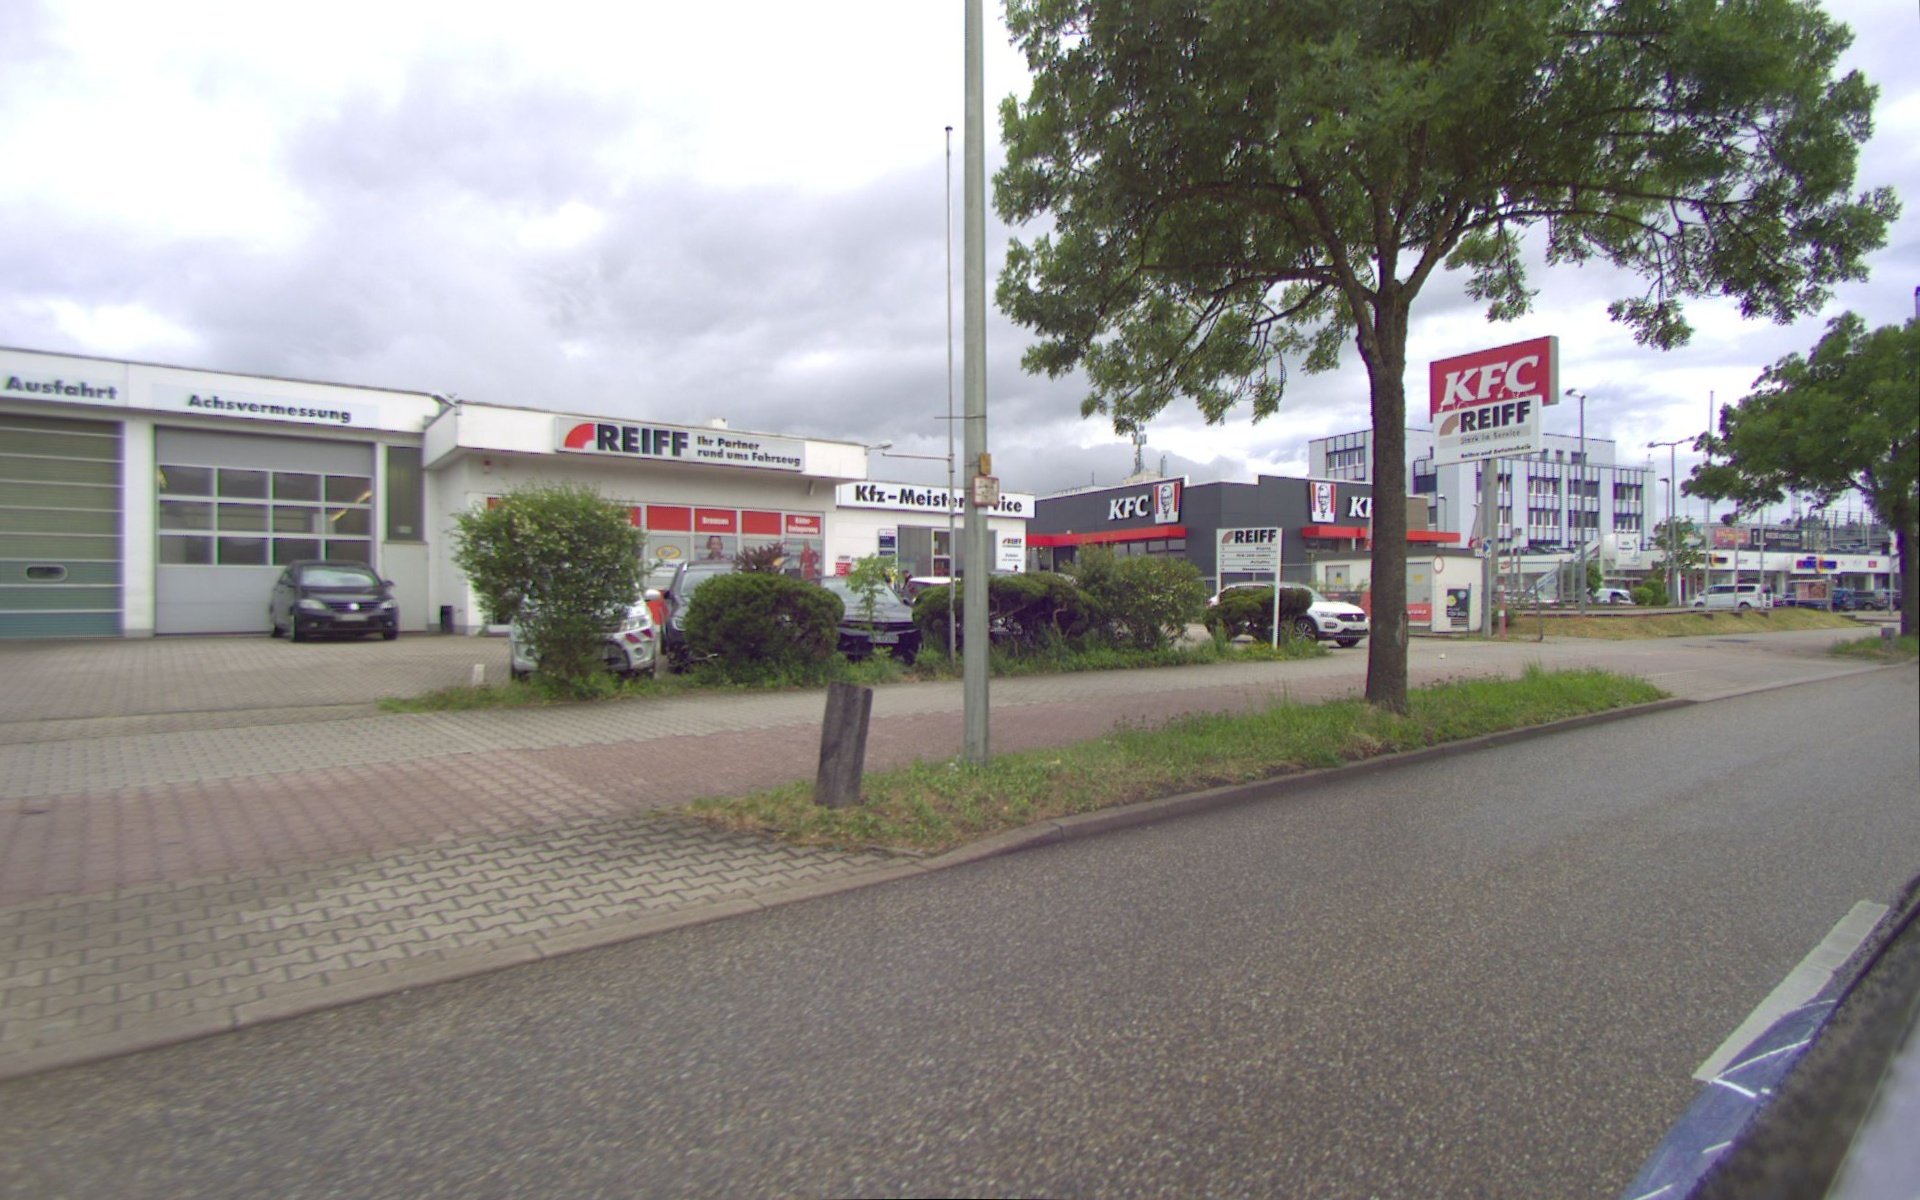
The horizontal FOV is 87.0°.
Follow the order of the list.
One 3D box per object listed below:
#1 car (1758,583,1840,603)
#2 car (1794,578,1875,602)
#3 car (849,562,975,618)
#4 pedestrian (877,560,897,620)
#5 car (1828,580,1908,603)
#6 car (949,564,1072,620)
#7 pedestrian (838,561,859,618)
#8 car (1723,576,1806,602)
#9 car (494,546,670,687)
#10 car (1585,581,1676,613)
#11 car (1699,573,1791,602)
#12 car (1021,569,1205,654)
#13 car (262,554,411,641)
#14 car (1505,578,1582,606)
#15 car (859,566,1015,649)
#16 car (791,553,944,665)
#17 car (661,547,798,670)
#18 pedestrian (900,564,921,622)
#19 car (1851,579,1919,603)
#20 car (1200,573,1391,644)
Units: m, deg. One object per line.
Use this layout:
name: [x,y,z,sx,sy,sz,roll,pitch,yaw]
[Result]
car: [63.123,-0.535,76.240,1.786,1.411,4.383,0,1,-25]
car: [67.836,-0.790,78.577,1.858,1.786,4.383,0,1,-25]
car: [-1.456,-0.303,29.457,1.755,1.497,3.856,-1,1,-39]
pedestrian: [-2.258,-0.312,31.206,0.505,1.807,0.439,0,1,-24]
car: [72.295,-0.678,80.659,1.858,1.786,4.383,0,1,-25]
car: [1.594,-0.313,33.187,1.921,1.700,4.000,0,2,-36]
pedestrian: [-3.554,-0.341,32.320,0.495,1.807,0.516,0,1,-34]
car: [58.963,-0.858,74.268,1.858,1.843,4.383,0,1,-25]
car: [-5.142,0.137,13.867,1.943,1.617,4.077,0,1,-20]
car: [40.584,-0.201,61.347,1.762,1.806,4.255,3,0,-29]
car: [56.214,-0.910,72.576,1.958,2.039,4.796,1,1,-24]
car: [2.957,0.154,20.420,1.683,1.541,4.007,0,1,-26]
car: [-12.335,-0.060,19.897,1.949,1.522,4.063,0,0,-40]
car: [37.826,-0.524,65.683,1.787,1.730,4.005,0,1,-28]
car: [-0.573,0.084,20.785,1.697,1.542,3.948,0,1,-26]
car: [-1.752,0.107,17.740,1.783,1.683,4.165,2,1,-17]
car: [-3.830,0.085,16.301,1.783,1.683,4.165,2,1,-17]
pedestrian: [-1.498,-0.227,30.532,0.434,1.726,0.512,0,1,24]
car: [74.751,-0.742,81.332,1.858,1.930,4.383,0,1,-25]
car: [8.043,0.151,24.609,1.852,1.571,4.191,0,1,-32]
